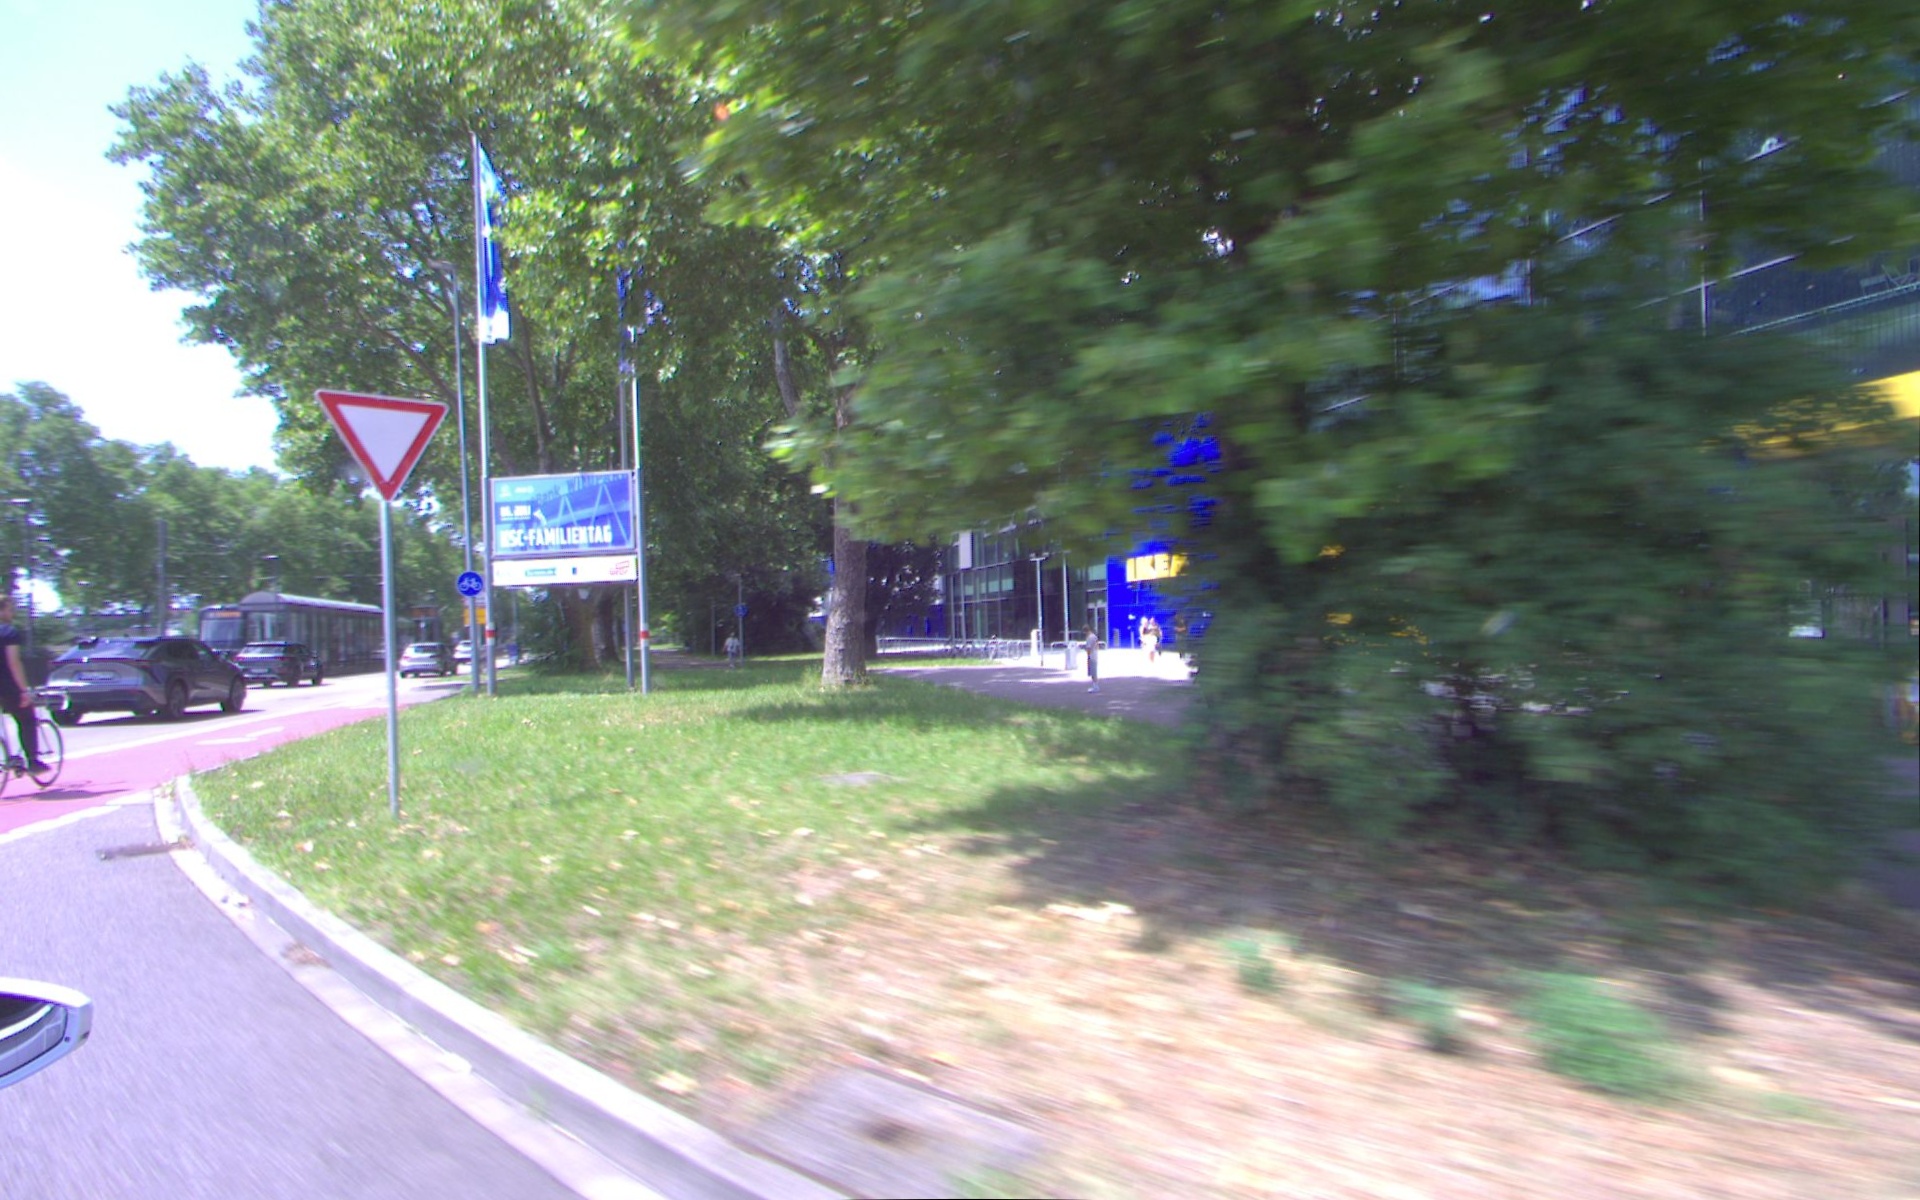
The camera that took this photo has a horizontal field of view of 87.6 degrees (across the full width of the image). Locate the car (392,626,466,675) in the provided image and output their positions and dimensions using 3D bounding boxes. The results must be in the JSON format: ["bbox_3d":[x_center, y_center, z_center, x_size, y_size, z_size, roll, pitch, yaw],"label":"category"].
[{"bbox_3d":[-23.274,2.174,44.051,1.964,2.015,4.356,-1,-1,-16],"label":"car"}]

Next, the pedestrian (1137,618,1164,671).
[{"bbox_3d":[6.155,1.431,32.310,0.581,1.639,0.664,-3,3,-20],"label":"pedestrian"}]

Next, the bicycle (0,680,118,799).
[{"bbox_3d":[-9.127,1.321,9.760,0.611,1.011,2.022,0,-3,-16],"label":"bicycle"}]

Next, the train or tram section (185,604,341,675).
[{"bbox_3d":[-36.632,2.092,53.420,2.994,3.226,14.076,-1,-2,-19],"label":"train or tram section"}]

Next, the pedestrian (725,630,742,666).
[{"bbox_3d":[-11.030,2.343,48.715,0.764,1.717,0.890,0,-1,-17],"label":"pedestrian"}]

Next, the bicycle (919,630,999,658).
[{"bbox_3d":[-0.025,2.145,48.861,3.765,1.191,0.986,-2,-1,8],"label":"bicycle"}]

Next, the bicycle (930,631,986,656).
[{"bbox_3d":[-0.097,2.220,50.908,2.725,1.136,0.896,-2,-1,8],"label":"bicycle"}]

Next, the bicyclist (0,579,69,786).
[{"bbox_3d":[-9.039,0.764,9.441,0.600,1.870,0.923,0,-1,-16],"label":"bicyclist"}]

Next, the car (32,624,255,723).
[{"bbox_3d":[-15.925,1.399,19.869,1.870,1.695,4.514,-1,-3,-17],"label":"car"}]

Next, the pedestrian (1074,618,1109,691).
[{"bbox_3d":[3.337,1.371,25.422,0.654,1.796,0.668,-1,1,-14],"label":"pedestrian"}]

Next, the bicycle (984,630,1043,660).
[{"bbox_3d":[2.383,1.971,44.324,2.479,1.191,0.694,-2,0,-10],"label":"bicycle"}]

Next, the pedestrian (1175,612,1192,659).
[{"bbox_3d":[8.222,1.309,36.877,0.535,1.723,0.420,0,0,21],"label":"pedestrian"}]

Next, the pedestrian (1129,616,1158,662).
[{"bbox_3d":[6.834,1.452,37.282,0.775,1.685,0.883,-2,-1,33],"label":"pedestrian"}]

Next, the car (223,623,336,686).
[{"bbox_3d":[-23.464,1.837,34.738,1.964,2.015,4.357,-1,-1,-16],"label":"car"}]

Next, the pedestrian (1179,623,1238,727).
[{"bbox_3d":[4.273,1.274,17.223,0.706,1.686,0.592,-4,2,-12],"label":"pedestrian"}]
